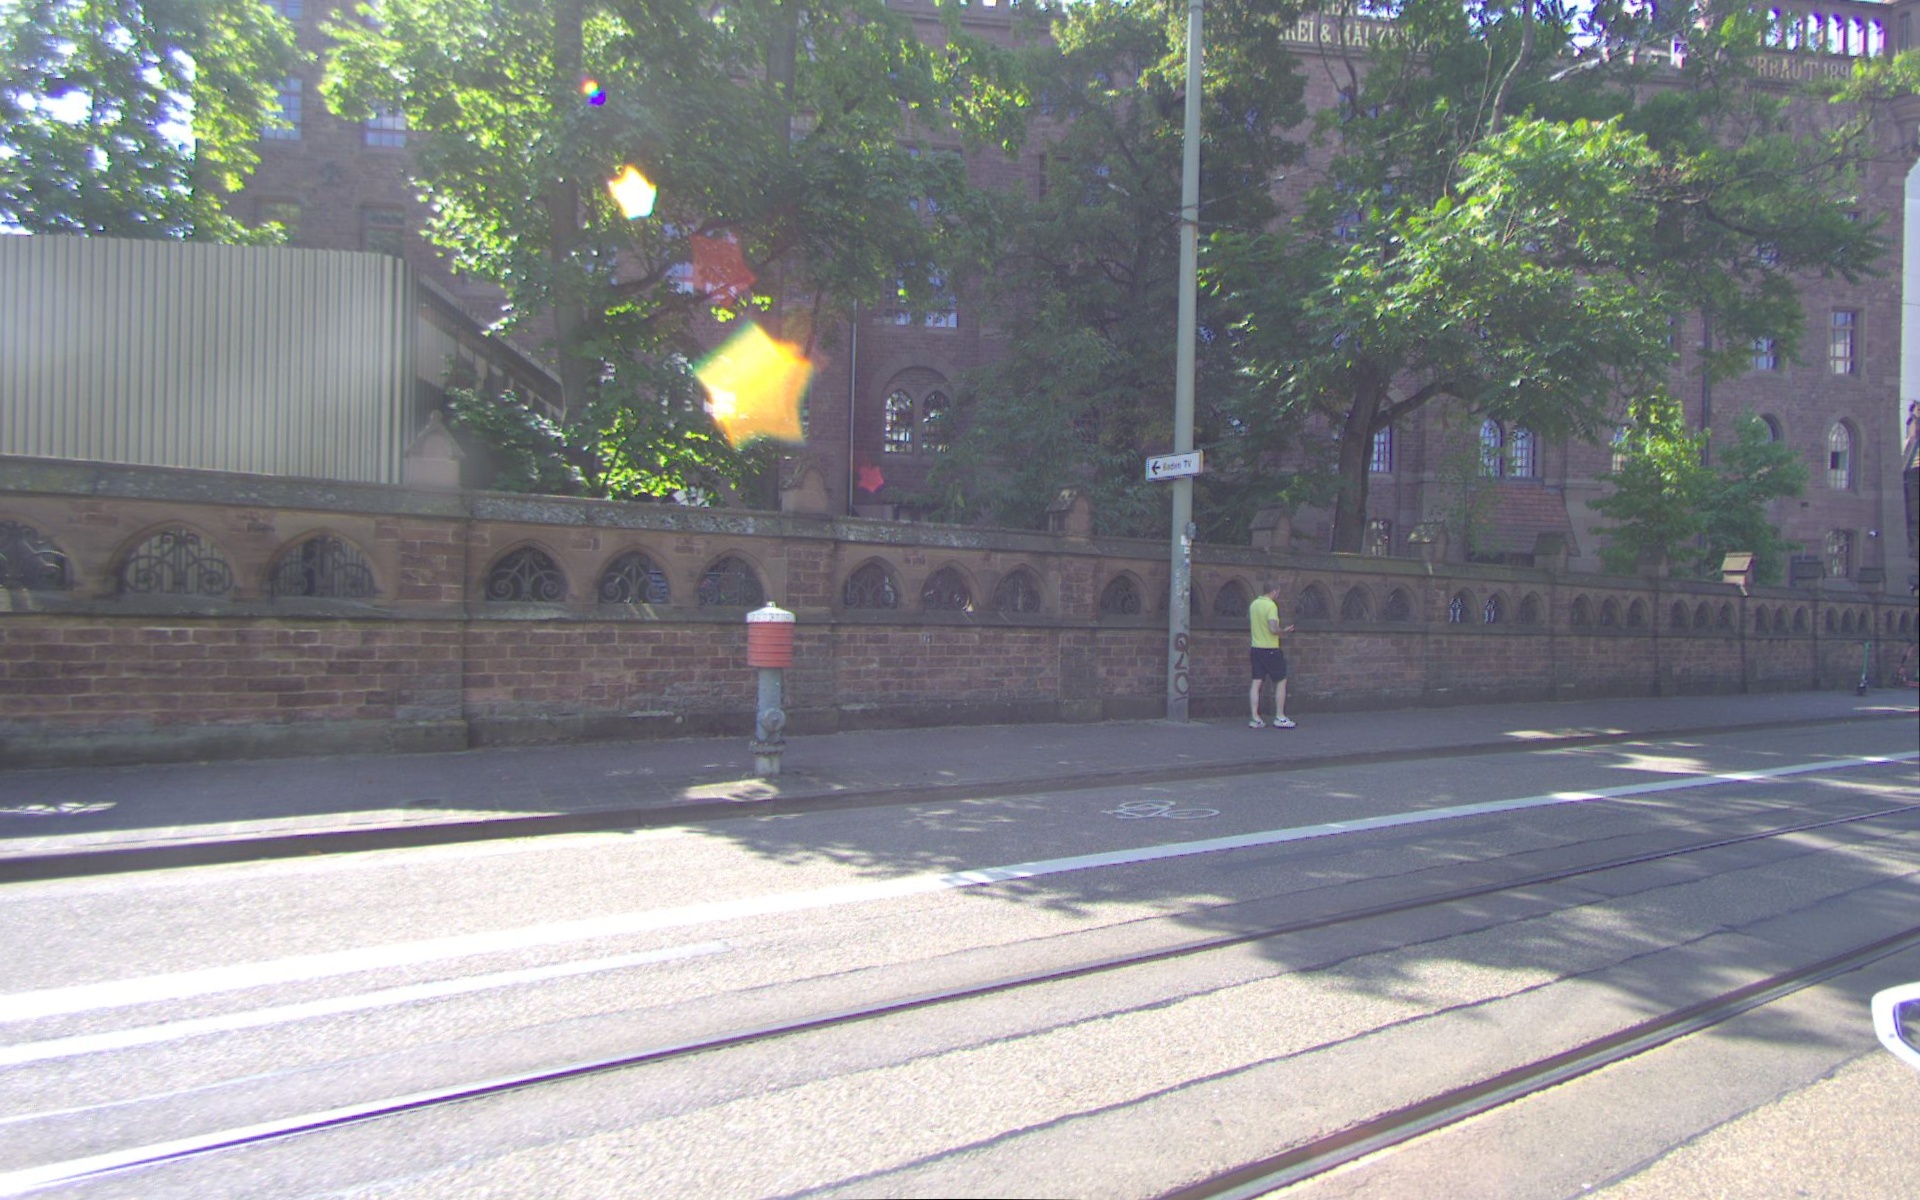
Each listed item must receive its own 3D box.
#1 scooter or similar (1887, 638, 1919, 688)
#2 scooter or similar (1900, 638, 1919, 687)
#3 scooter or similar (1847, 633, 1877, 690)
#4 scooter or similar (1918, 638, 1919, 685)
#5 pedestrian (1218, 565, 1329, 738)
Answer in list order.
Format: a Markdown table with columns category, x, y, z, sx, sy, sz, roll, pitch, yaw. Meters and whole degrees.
| category | x | y | z | sx | sy | sz | roll | pitch | yaw |
| --- | --- | --- | --- | --- | --- | --- | --- | --- | --- |
| scooter or similar | 23.297 | 1.540 | 24.479 | 1.155 | 1.194 | 0.340 | 2 | 0 | -5 |
| scooter or similar | 24.252 | 1.570 | 25.144 | 1.155 | 1.194 | 0.340 | 2 | 0 | -5 |
| scooter or similar | 19.794 | 1.339 | 22.038 | 0.416 | 1.194 | 1.308 | 1 | 0 | 44 |
| scooter or similar | 25.226 | 1.600 | 25.697 | 1.155 | 1.194 | 0.340 | 2 | 0 | -5 |
| pedestrian | 3.901 | 0.619 | 12.529 | 0.972 | 2.040 | 0.859 | 1 | 0 | -32 |
